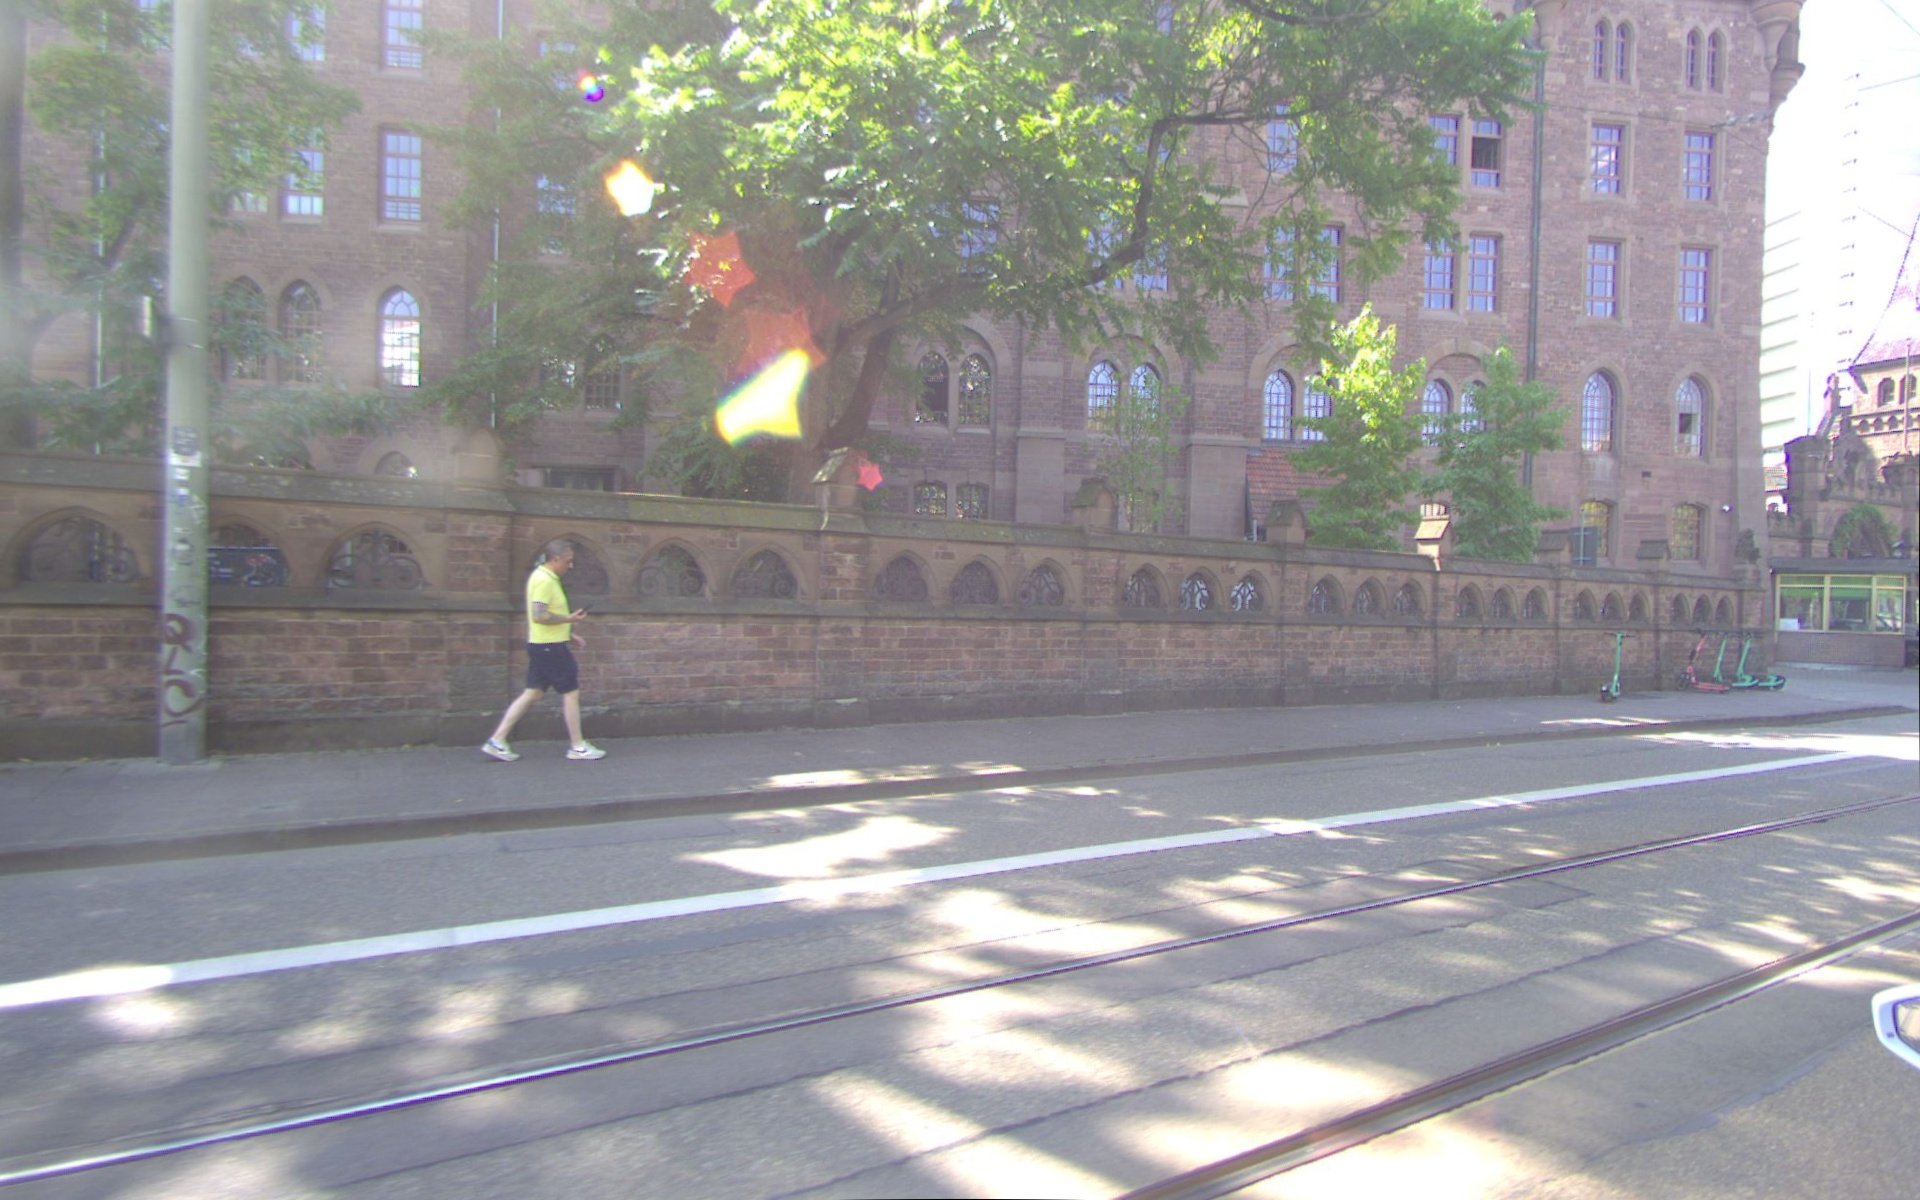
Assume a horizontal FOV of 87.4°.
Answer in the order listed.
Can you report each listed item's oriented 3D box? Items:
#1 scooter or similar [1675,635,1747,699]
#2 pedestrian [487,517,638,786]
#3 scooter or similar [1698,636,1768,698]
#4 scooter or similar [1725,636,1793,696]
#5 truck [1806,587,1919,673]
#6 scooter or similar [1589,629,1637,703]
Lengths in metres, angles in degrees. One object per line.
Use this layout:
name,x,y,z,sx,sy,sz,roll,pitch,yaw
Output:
scooter or similar,14.594,1.307,19.532,1.156,1.194,0.340,2,0,-5
pedestrian,-3.265,0.397,8.224,0.973,2.040,0.859,1,0,-32
scooter or similar,15.545,1.337,20.203,1.156,1.194,0.340,2,0,-5
scooter or similar,16.516,1.367,20.763,1.156,1.194,0.340,2,0,-5
truck,31.178,1.026,31.825,2.101,2.573,6.300,0,4,-25
scooter or similar,11.106,1.107,17.068,0.416,1.194,1.309,2,0,44
